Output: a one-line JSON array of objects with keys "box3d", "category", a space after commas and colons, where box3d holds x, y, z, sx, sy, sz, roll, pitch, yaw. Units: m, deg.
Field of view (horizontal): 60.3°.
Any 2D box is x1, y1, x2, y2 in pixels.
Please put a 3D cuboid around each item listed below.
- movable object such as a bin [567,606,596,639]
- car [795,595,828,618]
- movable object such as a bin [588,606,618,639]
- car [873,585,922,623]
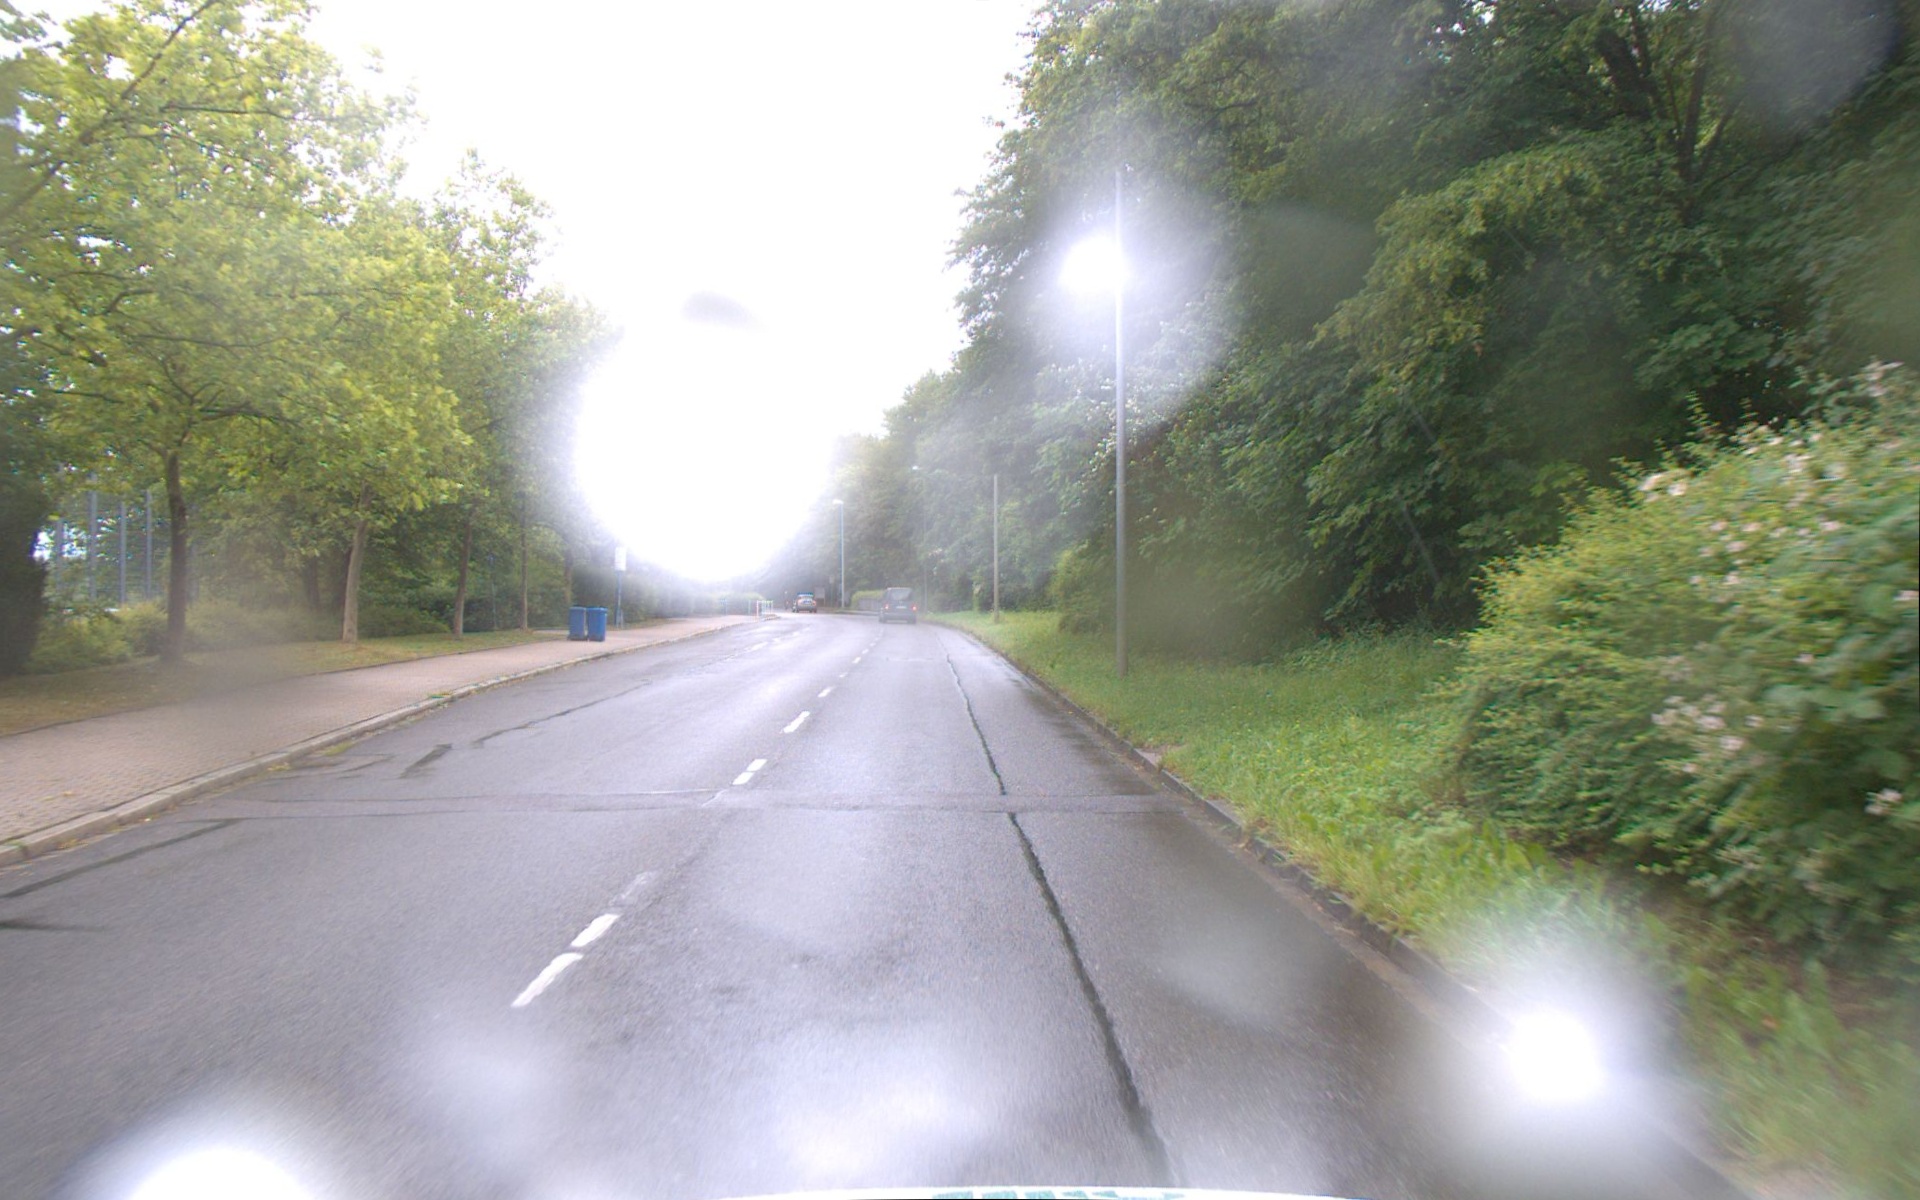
[{"box3d": [-12.350, 0.737, 53.953, 0.660, 1.044, 0.825, -3, 1, -33], "category": "movable object such as a bin"}, {"box3d": [-12.066, 0.498, 134.321, 1.961, 1.803, 3.982, -1, 1, -16], "category": "car"}, {"box3d": [-11.730, 0.752, 54.337, 0.660, 1.044, 0.825, -3, 1, -33], "category": "movable object such as a bin"}, {"box3d": [-3.292, 0.190, 86.001, 1.958, 1.825, 3.990, 1, 2, -11], "category": "car"}]
